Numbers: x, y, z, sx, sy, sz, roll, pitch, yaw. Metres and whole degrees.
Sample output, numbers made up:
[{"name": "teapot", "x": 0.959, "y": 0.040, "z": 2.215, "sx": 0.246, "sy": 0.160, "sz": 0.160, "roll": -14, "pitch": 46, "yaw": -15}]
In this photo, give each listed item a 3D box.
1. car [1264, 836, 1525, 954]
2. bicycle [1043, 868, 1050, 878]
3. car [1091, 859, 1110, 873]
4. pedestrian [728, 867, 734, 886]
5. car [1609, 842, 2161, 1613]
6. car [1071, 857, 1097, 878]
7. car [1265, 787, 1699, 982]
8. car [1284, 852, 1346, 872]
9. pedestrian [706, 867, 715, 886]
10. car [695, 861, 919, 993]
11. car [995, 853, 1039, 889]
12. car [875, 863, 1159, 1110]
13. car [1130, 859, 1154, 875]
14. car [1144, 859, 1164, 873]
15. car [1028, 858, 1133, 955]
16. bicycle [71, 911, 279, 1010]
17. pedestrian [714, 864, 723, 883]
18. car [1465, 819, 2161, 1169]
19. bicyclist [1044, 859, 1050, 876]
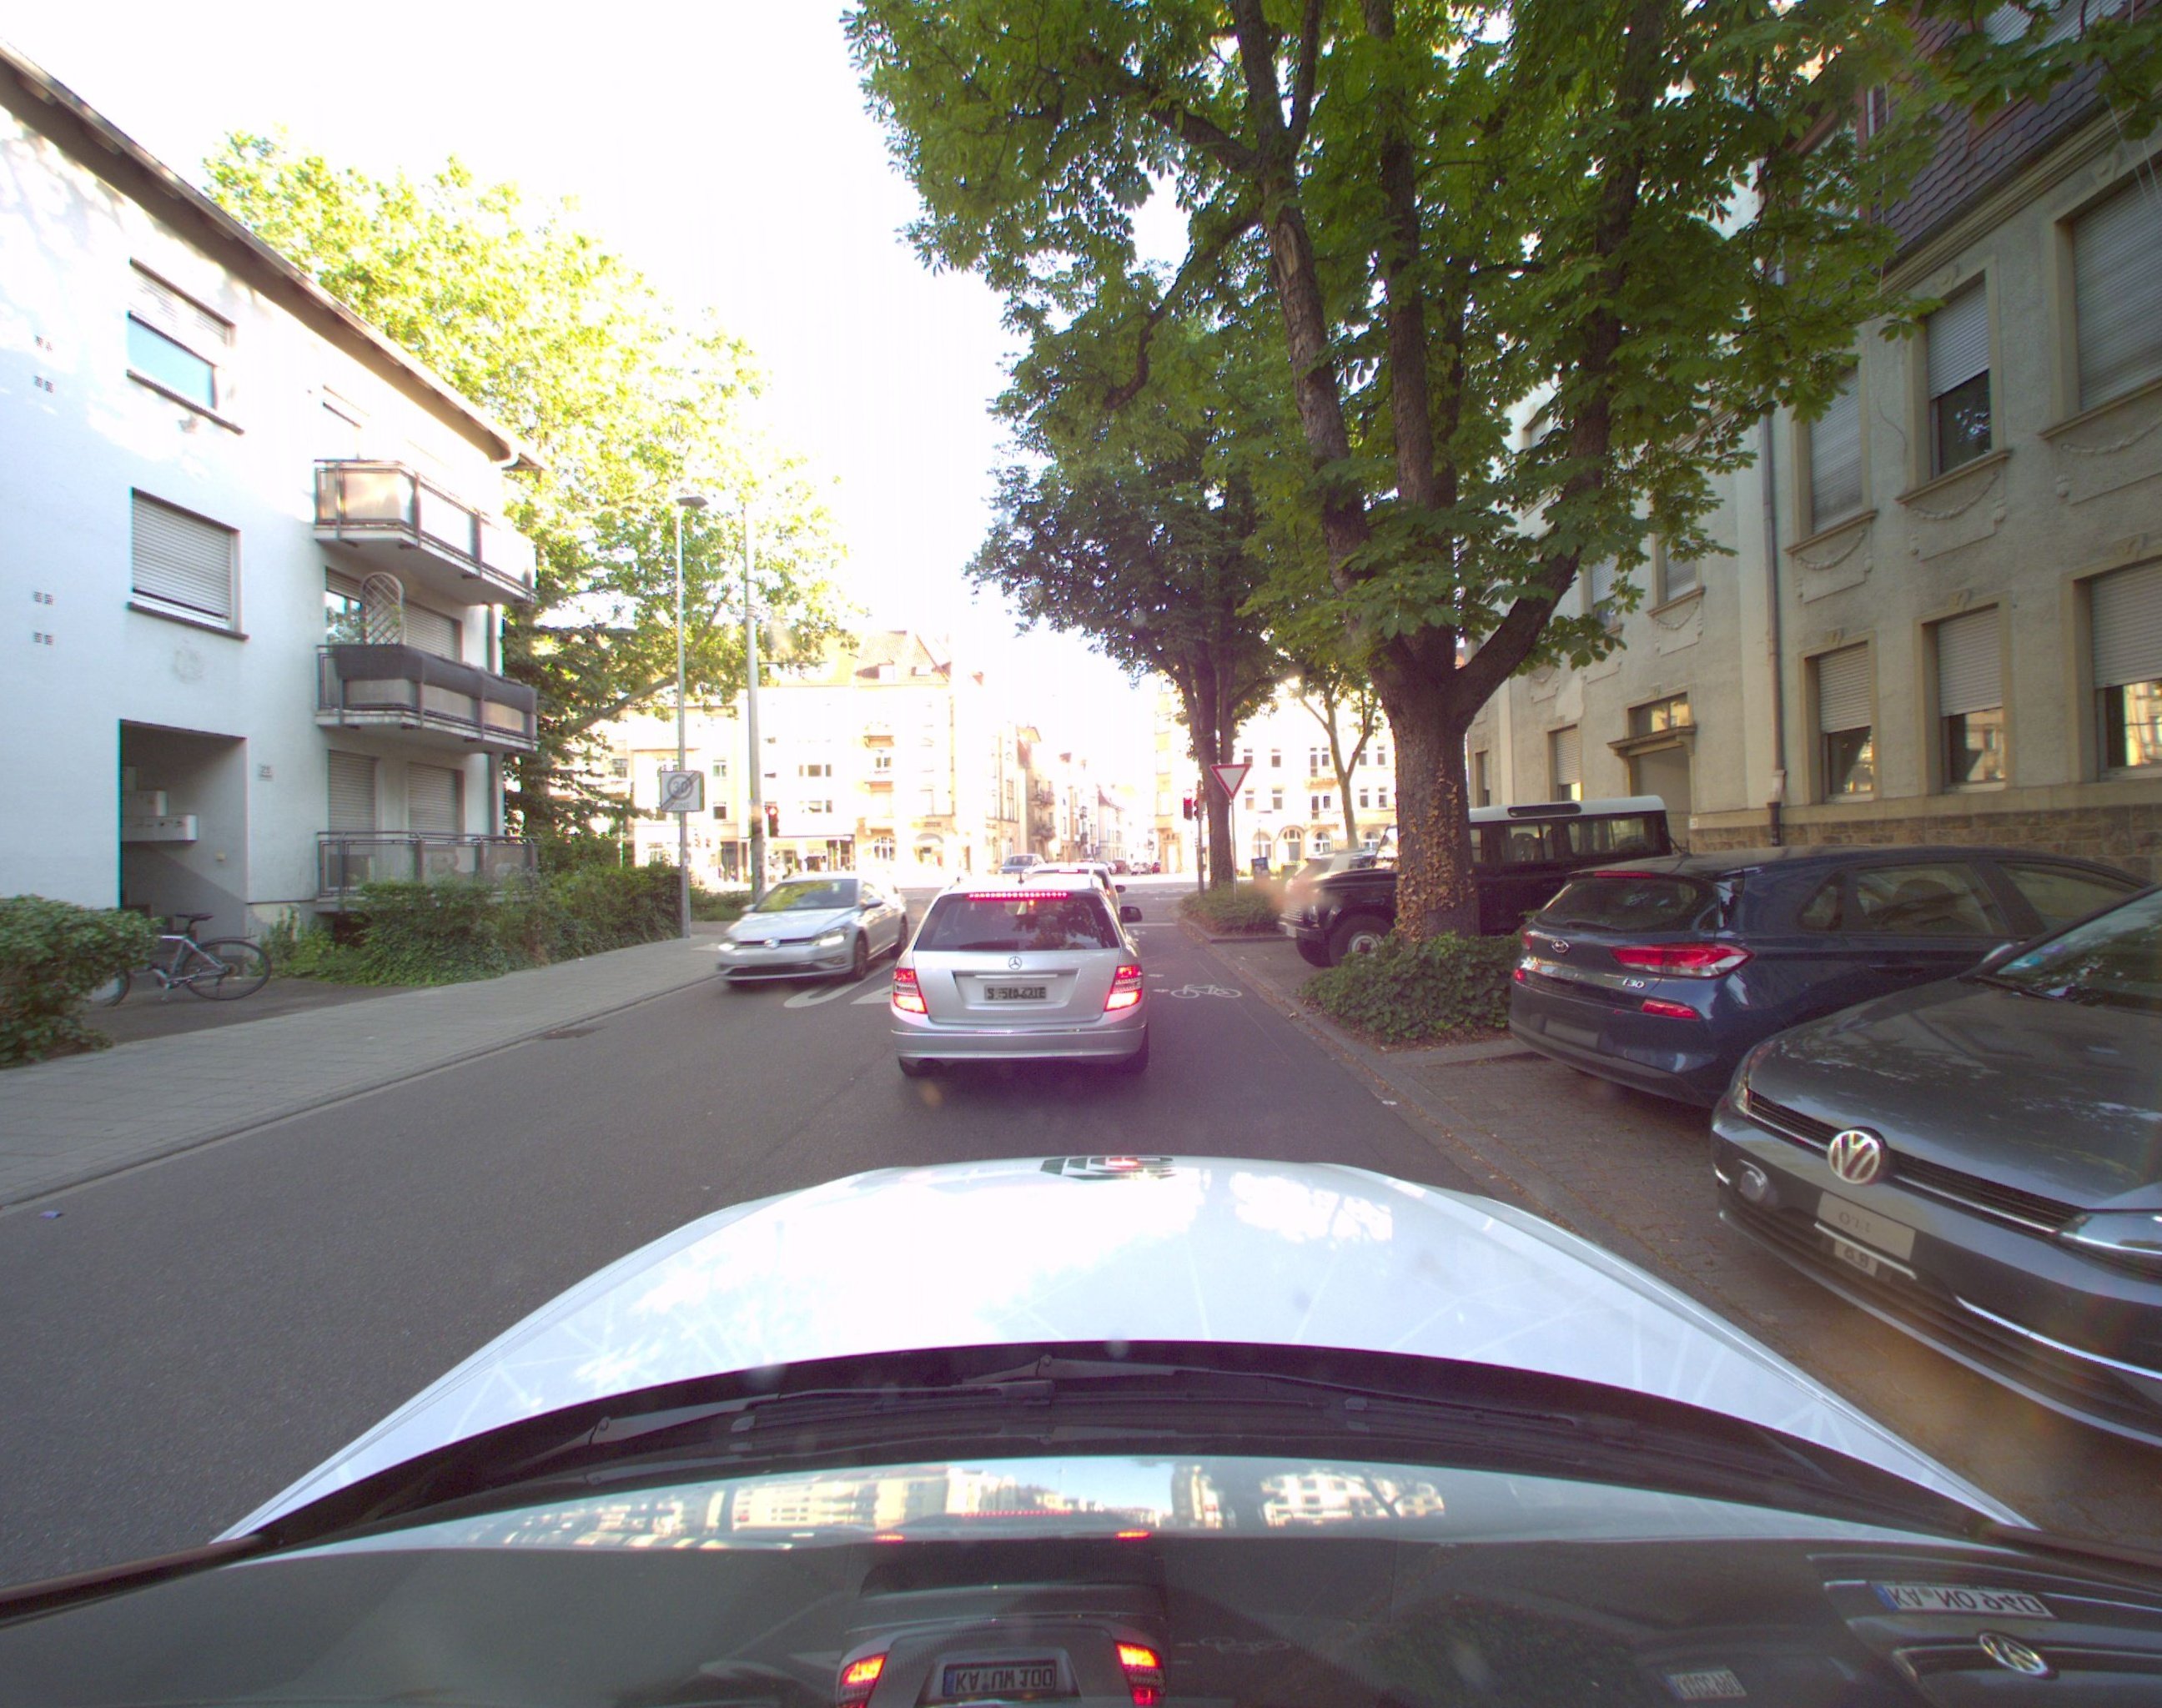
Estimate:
[{"name": "car", "x": 4.924, "y": 0.611, "z": 13.077, "sx": 3.475, "sy": 1.586, "sz": 1.708, "roll": -3, "pitch": 0, "yaw": -5}, {"name": "bicycle", "x": -3.090, "y": 1.689, "z": 73.541, "sx": 0.567, "sy": 0.834, "sz": 1.564, "roll": -1, "pitch": 0, "yaw": -1}, {"name": "car", "x": 2.517, "y": 1.540, "z": 102.540, "sx": 1.639, "sy": 1.783, "sz": 3.876, "roll": -1, "pitch": -1, "yaw": 13}, {"name": "pedestrian", "x": -27.937, "y": 1.772, "z": 64.953, "sx": 0.431, "sy": 1.511, "sz": 0.470, "roll": -1, "pitch": 0, "yaw": -23}, {"name": "car", "x": 4.063, "y": 0.659, "z": 2.320, "sx": 4.037, "sy": 1.422, "sz": 1.627, "roll": -3, "pitch": -1, "yaw": -2}, {"name": "car", "x": 0.351, "y": 1.350, "z": 82.212, "sx": 1.926, "sy": 1.958, "sz": 4.161, "roll": -2, "pitch": 0, "yaw": 10}, {"name": "car", "x": 4.789, "y": 0.347, "z": 10.183, "sx": 4.478, "sy": 1.956, "sz": 1.792, "roll": -3, "pitch": 0, "yaw": -1}, {"name": "car", "x": 14.158, "y": 0.472, "z": 49.444, "sx": 3.352, "sy": 1.069, "sz": 1.380, "roll": -2, "pitch": 0, "yaw": 0}, {"name": "pedestrian", "x": -29.528, "y": 1.793, "z": 64.944, "sx": 0.539, "sy": 1.511, "sz": 0.504, "roll": -1, "pitch": -1, "yaw": -40}, {"name": "car", "x": -3.753, "y": 0.901, "z": 12.032, "sx": 1.775, "sy": 1.462, "sz": 4.299, "roll": -3, "pitch": 0, "yaw": 0}, {"name": "car", "x": -2.919, "y": 0.748, "z": 37.937, "sx": 1.609, "sy": 1.501, "sz": 3.594, "roll": -2, "pitch": 1, "yaw": 2}, {"name": "car", "x": -0.399, "y": 0.805, "z": 6.599, "sx": 1.685, "sy": 1.429, "sz": 3.491, "roll": 0, "pitch": 0, "yaw": -1}, {"name": "car", "x": 6.453, "y": 1.325, "z": 85.892, "sx": 1.708, "sy": 1.478, "sz": 4.016, "roll": -3, "pitch": 0, "yaw": 14}, {"name": "car", "x": 9.211, "y": 1.465, "z": 102.020, "sx": 1.709, "sy": 1.478, "sz": 4.016, "roll": -6, "pitch": -1, "yaw": 14}, {"name": "car", "x": -0.002, "y": 0.785, "z": 13.826, "sx": 1.528, "sy": 1.391, "sz": 3.599, "roll": -1, "pitch": 0, "yaw": 0}, {"name": "bicycle", "x": -10.009, "y": 1.151, "z": 9.069, "sx": 1.469, "sy": 0.975, "sz": 0.402, "roll": 2, "pitch": -2, "yaw": -38}, {"name": "pedestrian", "x": -28.342, "y": 1.509, "z": 63.729, "sx": 0.566, "sy": 1.511, "sz": 0.499, "roll": -1, "pitch": 0, "yaw": -17}, {"name": "car", "x": 4.417, "y": 0.611, "z": 4.533, "sx": 3.739, "sy": 1.422, "sz": 1.627, "roll": -3, "pitch": -1, "yaw": -2}, {"name": "bicyclist", "x": -3.088, "y": 1.202, "z": 73.550, "sx": 0.465, "sy": 1.521, "sz": 0.693, "roll": -1, "pitch": 0, "yaw": -2}]
